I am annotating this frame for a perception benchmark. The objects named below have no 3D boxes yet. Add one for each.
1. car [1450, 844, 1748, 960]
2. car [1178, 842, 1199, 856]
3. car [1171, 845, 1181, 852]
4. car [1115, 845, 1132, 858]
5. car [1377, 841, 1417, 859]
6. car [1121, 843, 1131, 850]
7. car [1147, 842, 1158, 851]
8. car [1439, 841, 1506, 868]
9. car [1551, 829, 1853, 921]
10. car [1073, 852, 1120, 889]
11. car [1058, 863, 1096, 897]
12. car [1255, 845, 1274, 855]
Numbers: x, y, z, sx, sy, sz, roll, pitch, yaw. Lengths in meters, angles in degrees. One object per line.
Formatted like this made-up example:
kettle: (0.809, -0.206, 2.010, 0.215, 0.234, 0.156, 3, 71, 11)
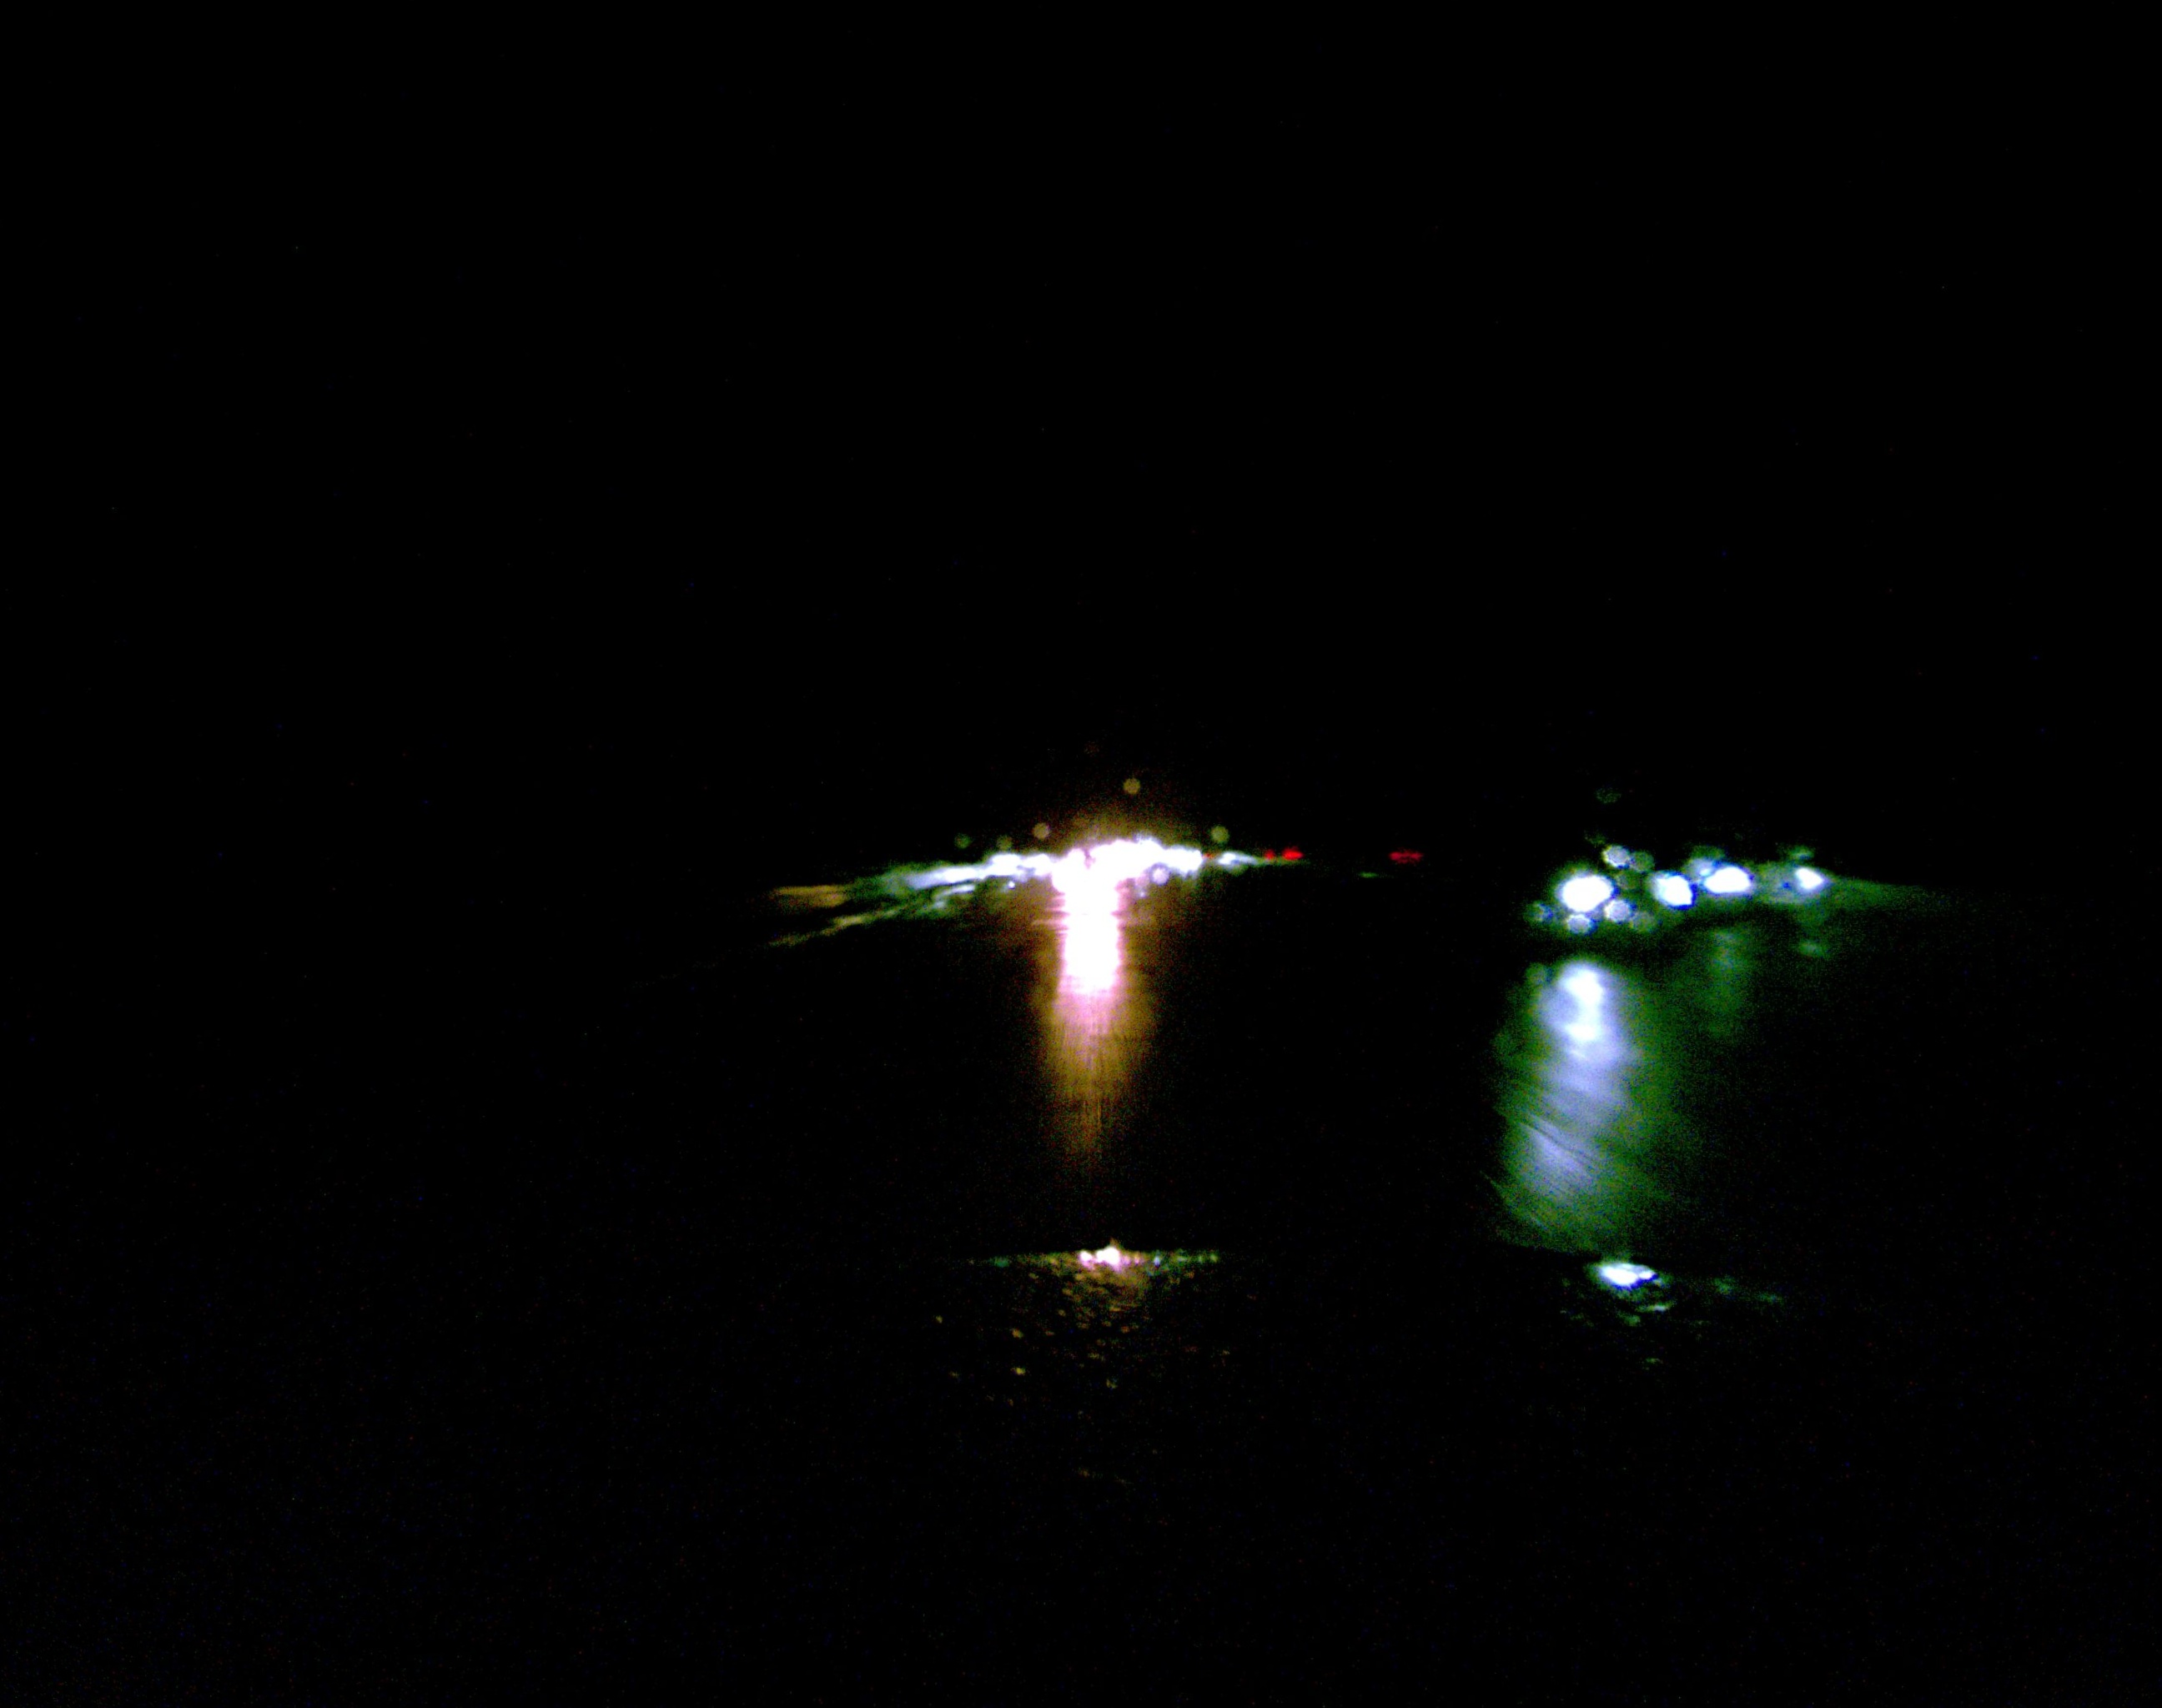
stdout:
car: (7.763, 0.600, 11.963, 1.998, 1.433, 3.999, -2, 1, 1)
car: (12.788, -0.580, 90.536, 1.998, 1.552, 4.587, -2, 1, 2)
car: (24.235, -1.416, 194.650, 1.885, 1.548, 4.459, -2, 1, 0)
car: (5.597, -0.391, 100.590, 1.998, 1.552, 4.587, -2, 1, 2)
car: (29.252, -0.427, 70.422, 1.884, 1.548, 4.459, -2, 1, 0)
car: (9.799, -1.662, 164.707, 1.998, 1.552, 4.587, -2, 1, 2)
car: (15.146, -1.668, 161.811, 1.998, 1.797, 4.000, -2, 1, 2)
car: (24.875, -0.022, 48.468, 1.885, 1.548, 4.459, -2, 1, -1)
car: (11.955, 0.297, 15.260, 1.998, 1.468, 5.165, -2, 1, 2)
car: (0.725, 0.775, 35.246, 1.998, 1.542, 4.001, -2, -1, 1)
car: (-0.137, 1.076, 32.540, 1.525, 1.256, 3.368, -2, 1, 1)
car: (30.261, -0.702, 125.249, 1.885, 1.548, 4.459, -2, 1, -1)
